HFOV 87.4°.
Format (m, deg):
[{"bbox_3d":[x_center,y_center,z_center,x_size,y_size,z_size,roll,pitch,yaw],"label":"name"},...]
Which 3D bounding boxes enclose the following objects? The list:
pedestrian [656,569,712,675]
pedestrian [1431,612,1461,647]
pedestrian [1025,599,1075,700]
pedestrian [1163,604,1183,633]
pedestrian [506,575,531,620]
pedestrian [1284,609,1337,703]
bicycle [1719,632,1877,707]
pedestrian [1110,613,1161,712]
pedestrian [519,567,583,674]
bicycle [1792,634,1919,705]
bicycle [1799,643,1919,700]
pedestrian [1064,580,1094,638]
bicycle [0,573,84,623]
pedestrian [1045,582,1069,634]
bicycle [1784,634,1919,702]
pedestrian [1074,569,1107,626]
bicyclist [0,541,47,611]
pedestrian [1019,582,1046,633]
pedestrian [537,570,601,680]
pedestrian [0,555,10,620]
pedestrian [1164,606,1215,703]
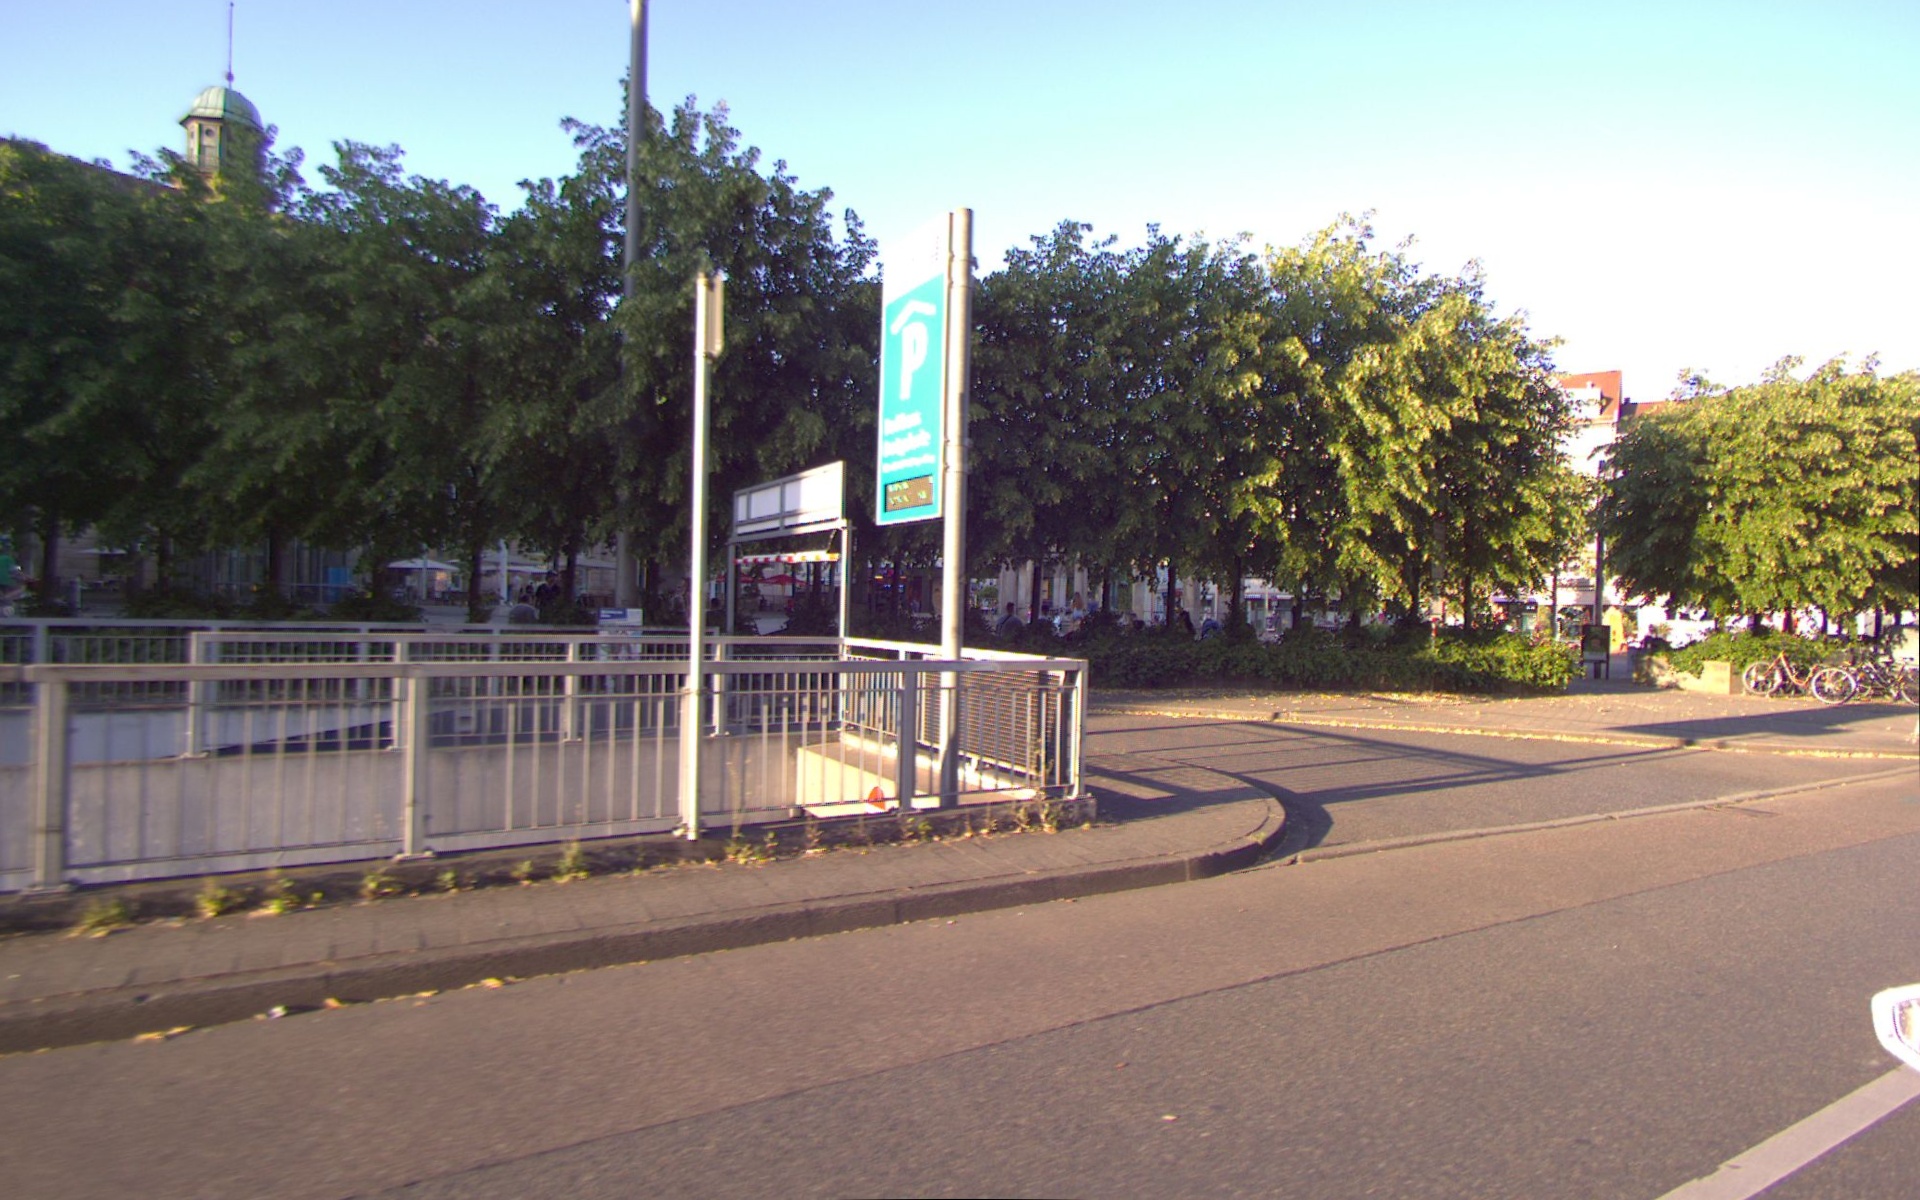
[{"bbox_3d":[-5.482,0.425,20.029,0.902,2.040,0.913,1,0,-7],"label":"pedestrian"},{"bbox_3d":[25.289,1.537,52.275,1.169,1.801,0.710,1,0,6],"label":"pedestrian"},{"bbox_3d":[1.801,0.979,20.203,0.718,1.974,0.802,1,0,-17],"label":"pedestrian"},{"bbox_3d":[11.625,1.012,54.815,0.830,1.520,0.947,1,0,30],"label":"pedestrian"},{"bbox_3d":[-19.506,-0.101,44.420,0.716,1.974,0.804,1,0,-2],"label":"pedestrian"},{"bbox_3d":[7.596,1.204,21.770,0.718,1.974,0.802,1,0,-17],"label":"pedestrian"},{"bbox_3d":[16.727,1.350,20.155,0.801,1.301,2.507,2,0,-9],"label":"bicycle"},{"bbox_3d":[3.627,1.279,20.749,0.718,1.974,0.802,1,0,-17],"label":"pedestrian"},{"bbox_3d":[-8.040,0.398,19.795,0.902,2.040,0.913,1,0,-7],"label":"pedestrian"},{"bbox_3d":[18.385,1.381,20.235,0.512,1.254,2.418,1,1,-31],"label":"bicycle"},{"bbox_3d":[19.217,1.494,21.321,0.629,0.984,2.032,1,2,-31],"label":"bicycle"},{"bbox_3d":[4.128,0.306,34.905,0.720,1.974,0.801,1,0,-22],"label":"pedestrian"},{"bbox_3d":[-21.636,-0.039,22.942,0.937,1.116,2.319,1,0,38],"label":"bicycle"},{"bbox_3d":[3.754,0.309,38.782,0.716,1.974,0.805,1,0,20],"label":"pedestrian"},{"bbox_3d":[18.762,1.398,20.949,0.457,1.254,2.418,1,0,-31],"label":"bicycle"},{"bbox_3d":[3.804,-0.074,29.320,0.789,1.632,0.526,2,0,22],"label":"pedestrian"},{"bbox_3d":[-21.552,-0.535,23.018,1.361,1.529,0.749,1,0,40],"label":"bicyclist"},{"bbox_3d":[2.827,0.288,39.253,0.791,1.974,0.686,1,0,31],"label":"pedestrian"},{"bbox_3d":[-7.493,0.465,19.277,0.902,2.040,0.913,1,0,-7],"label":"pedestrian"},{"bbox_3d":[-25.249,-0.339,25.988,1.246,1.669,0.706,1,0,34],"label":"pedestrian"},{"bbox_3d":[4.796,1.133,21.021,0.718,1.974,0.802,1,0,-17],"label":"pedestrian"}]
